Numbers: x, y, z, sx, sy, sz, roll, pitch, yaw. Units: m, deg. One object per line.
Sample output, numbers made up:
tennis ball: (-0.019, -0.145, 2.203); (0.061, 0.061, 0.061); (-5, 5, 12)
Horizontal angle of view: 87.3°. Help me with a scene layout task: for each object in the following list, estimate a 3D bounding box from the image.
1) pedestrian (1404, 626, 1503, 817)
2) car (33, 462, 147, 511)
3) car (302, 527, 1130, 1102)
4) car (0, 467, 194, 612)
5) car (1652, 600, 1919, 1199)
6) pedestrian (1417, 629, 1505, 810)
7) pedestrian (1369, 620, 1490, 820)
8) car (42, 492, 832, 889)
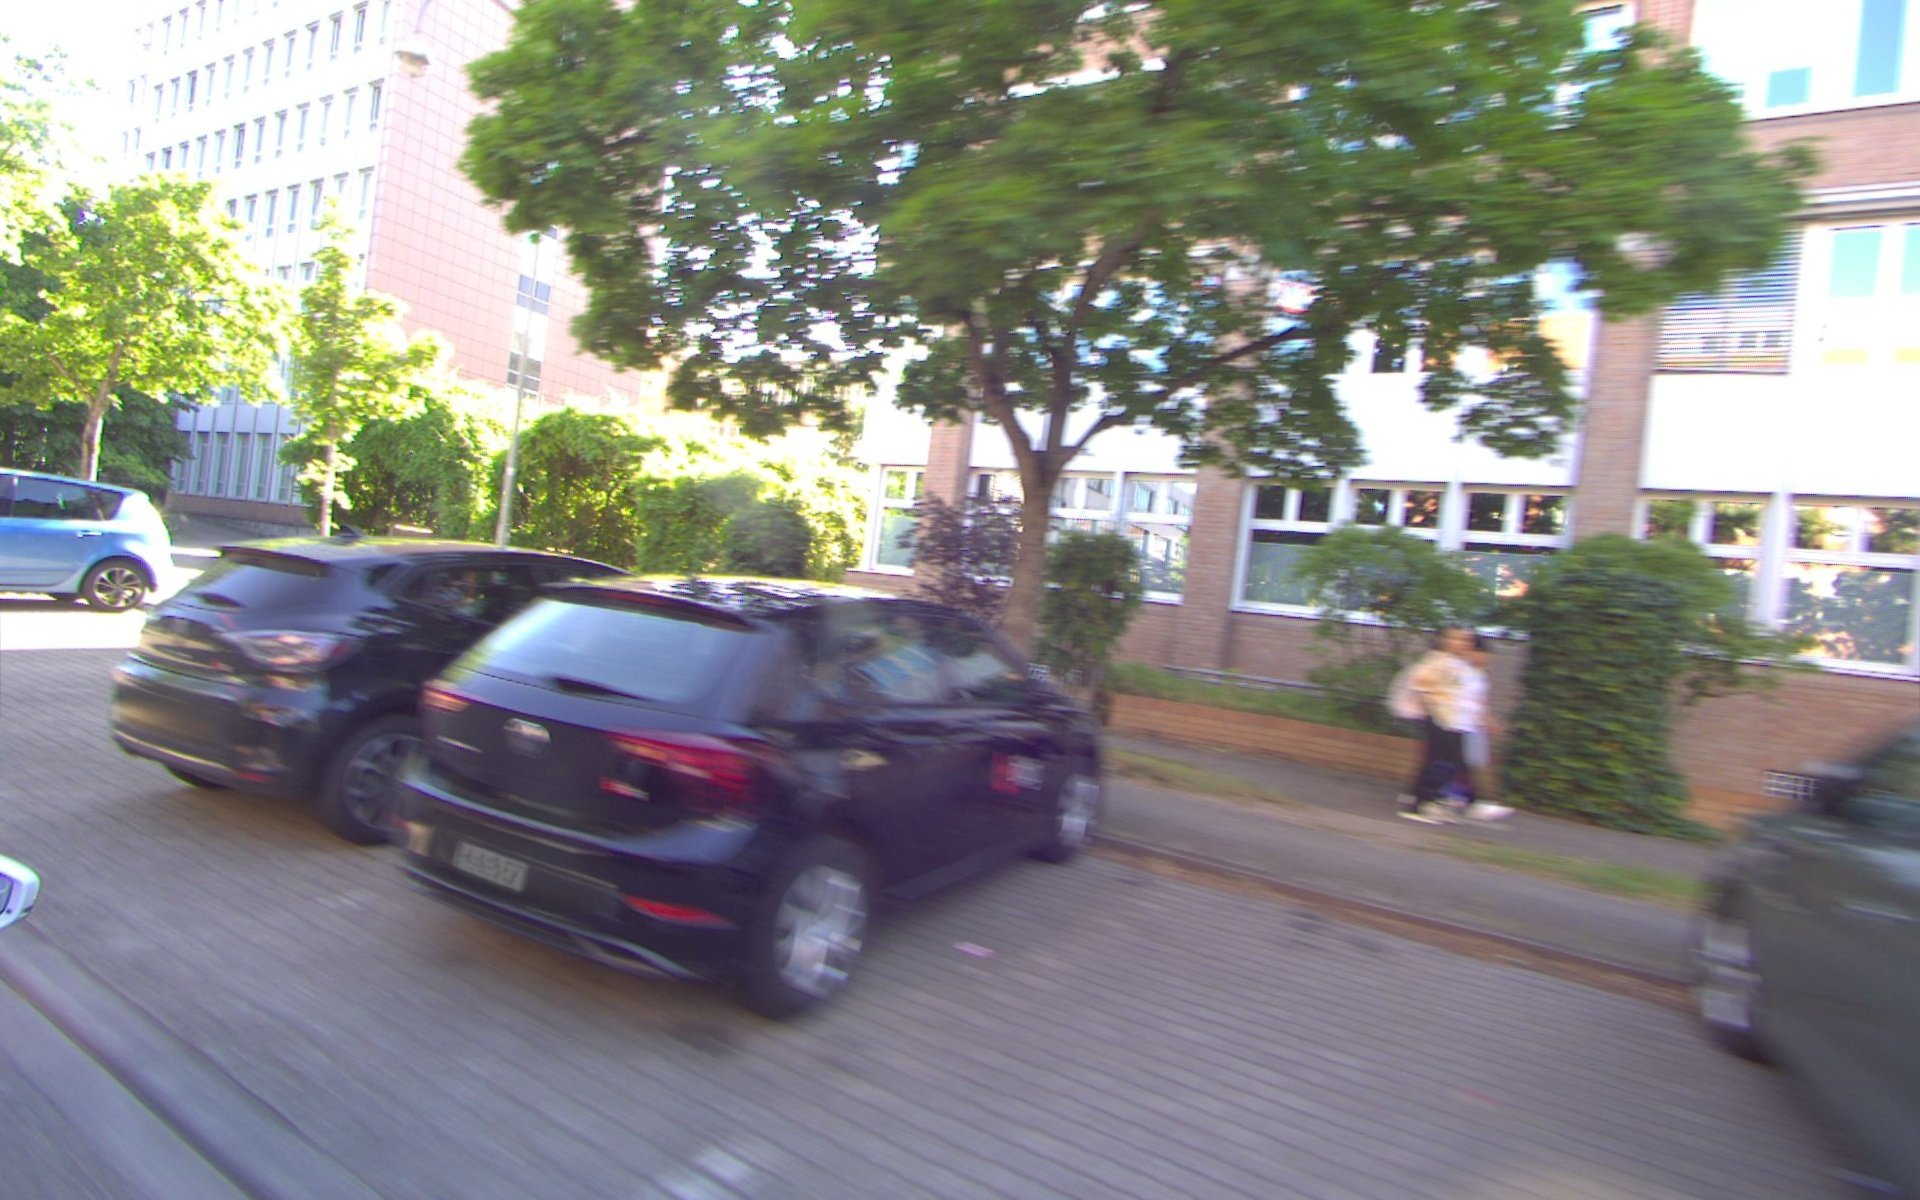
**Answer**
pedestrian: (4.325, 1.042, 8.813); (0.584, 1.540, 0.603); (7, 1, 29)
car: (-47.189, -6.135, 54.646); (1.965, 1.803, 4.084); (7, -2, 27)
car: (-0.625, 0.607, 4.780); (1.672, 1.427, 3.805); (8, 2, 26)
car: (-12.023, -0.815, 11.801); (1.880, 1.640, 4.407); (7, 2, 30)
car: (3.350, 0.918, 2.419); (1.905, 1.617, 4.363); (7, 0, 25)
pedestrian: (4.749, 1.106, 9.526); (0.549, 1.572, 0.757); (7, 1, 29)
pedestrian: (3.841, 0.949, 8.212); (0.703, 1.476, 0.701); (7, 1, 29)
car: (-2.745, 0.386, 6.153); (1.794, 1.503, 3.848); (8, 2, 31)
